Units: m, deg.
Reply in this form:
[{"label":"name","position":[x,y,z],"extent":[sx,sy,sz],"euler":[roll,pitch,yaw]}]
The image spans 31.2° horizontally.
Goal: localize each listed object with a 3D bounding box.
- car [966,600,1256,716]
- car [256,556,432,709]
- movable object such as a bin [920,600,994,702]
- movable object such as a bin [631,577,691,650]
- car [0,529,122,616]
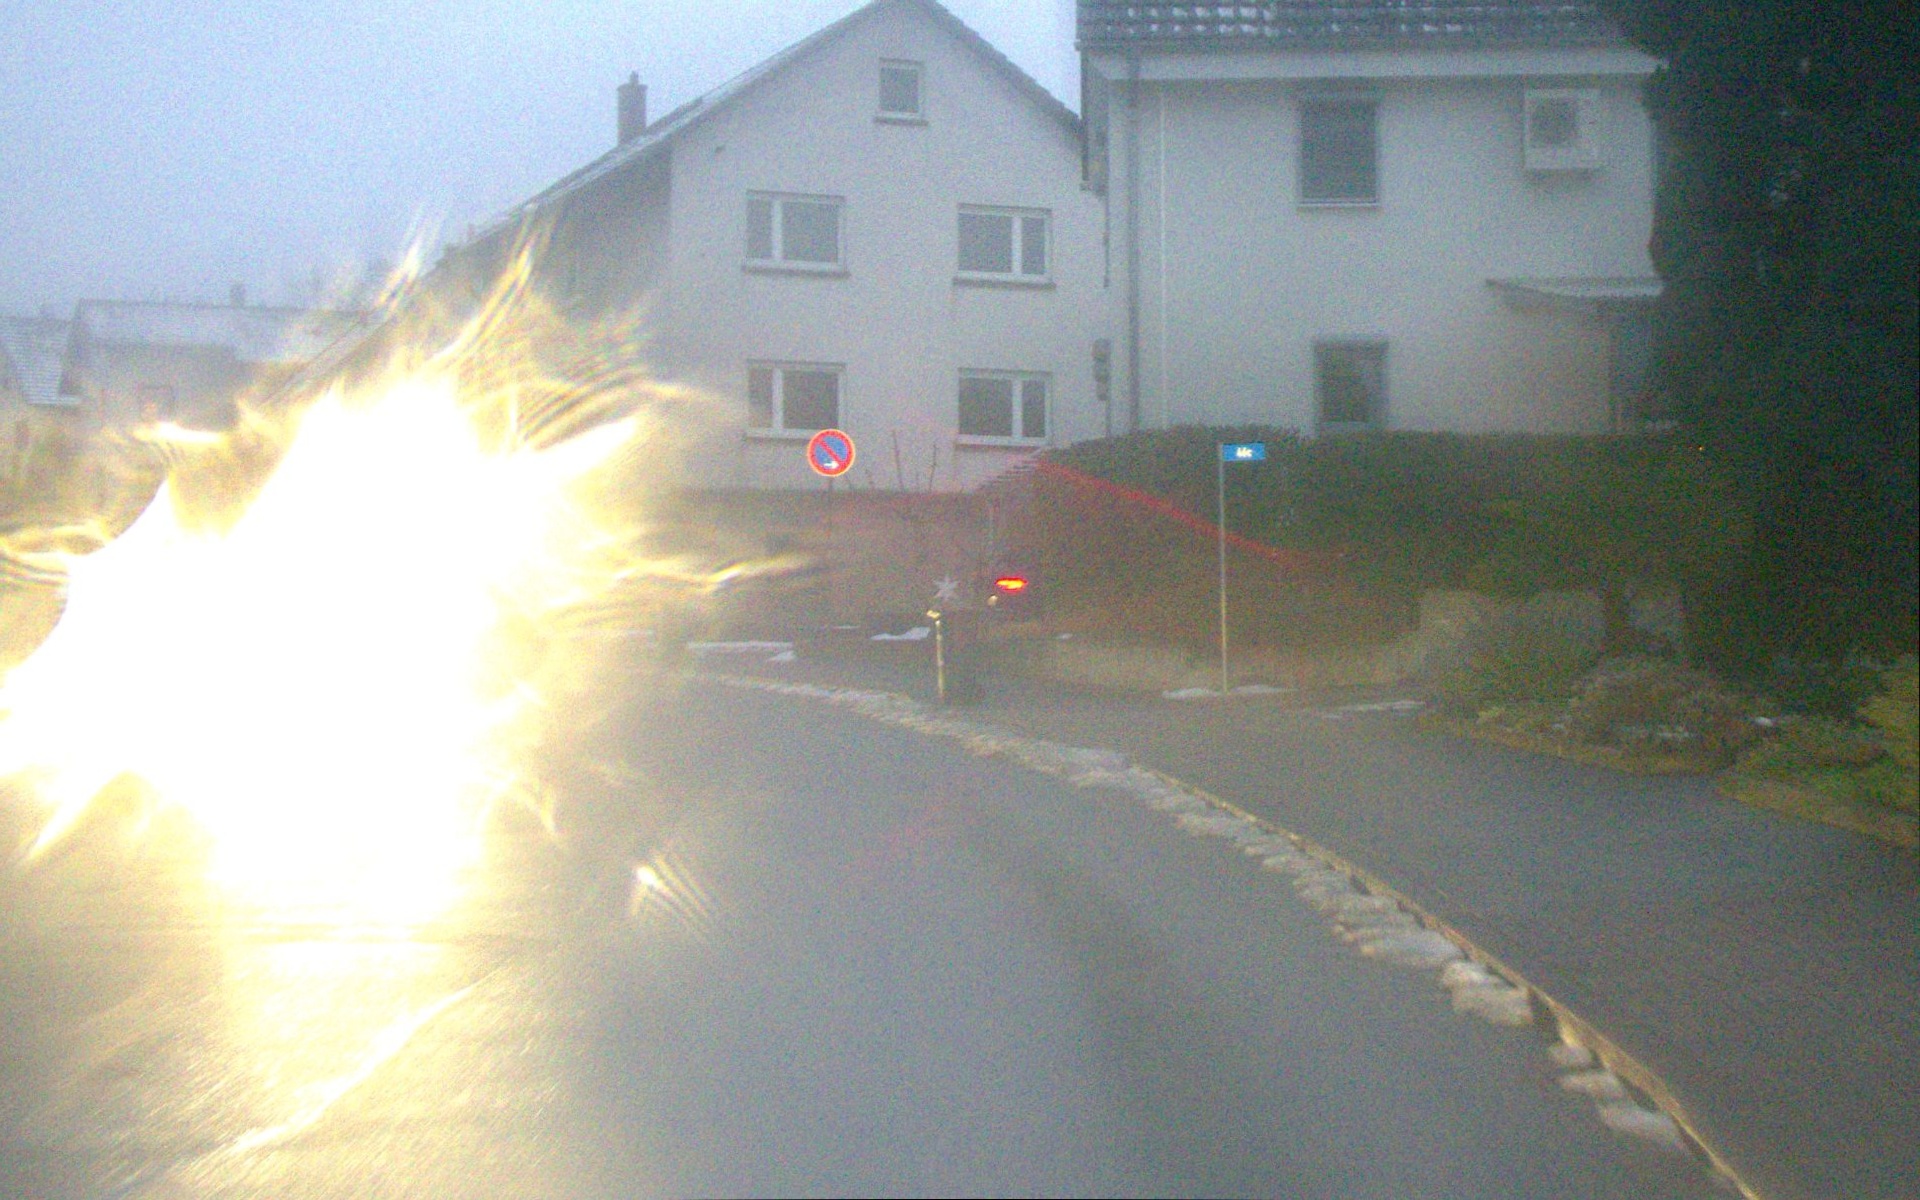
[{"label":"car","position":[2.303,0.881,52.773],"extent":[3.985,1.612,2.001],"euler":[2,1,-15]},{"label":"car","position":[-8.600,0.399,48.371],"extent":[2.110,2.020,4.984],"euler":[0,1,-7]},{"label":"movable object such as a bin","position":[-0.032,0.479,32.312],"extent":[0.537,0.935,0.689],"euler":[1,1,-13]},{"label":"movable object such as a bin","position":[-3.841,0.169,44.080],"extent":[0.637,0.914,0.686],"euler":[1,0,-16]},{"label":"car","position":[-15.324,-0.478,58.480],"extent":[1.618,1.433,3.657],"euler":[-1,1,-21]}]
